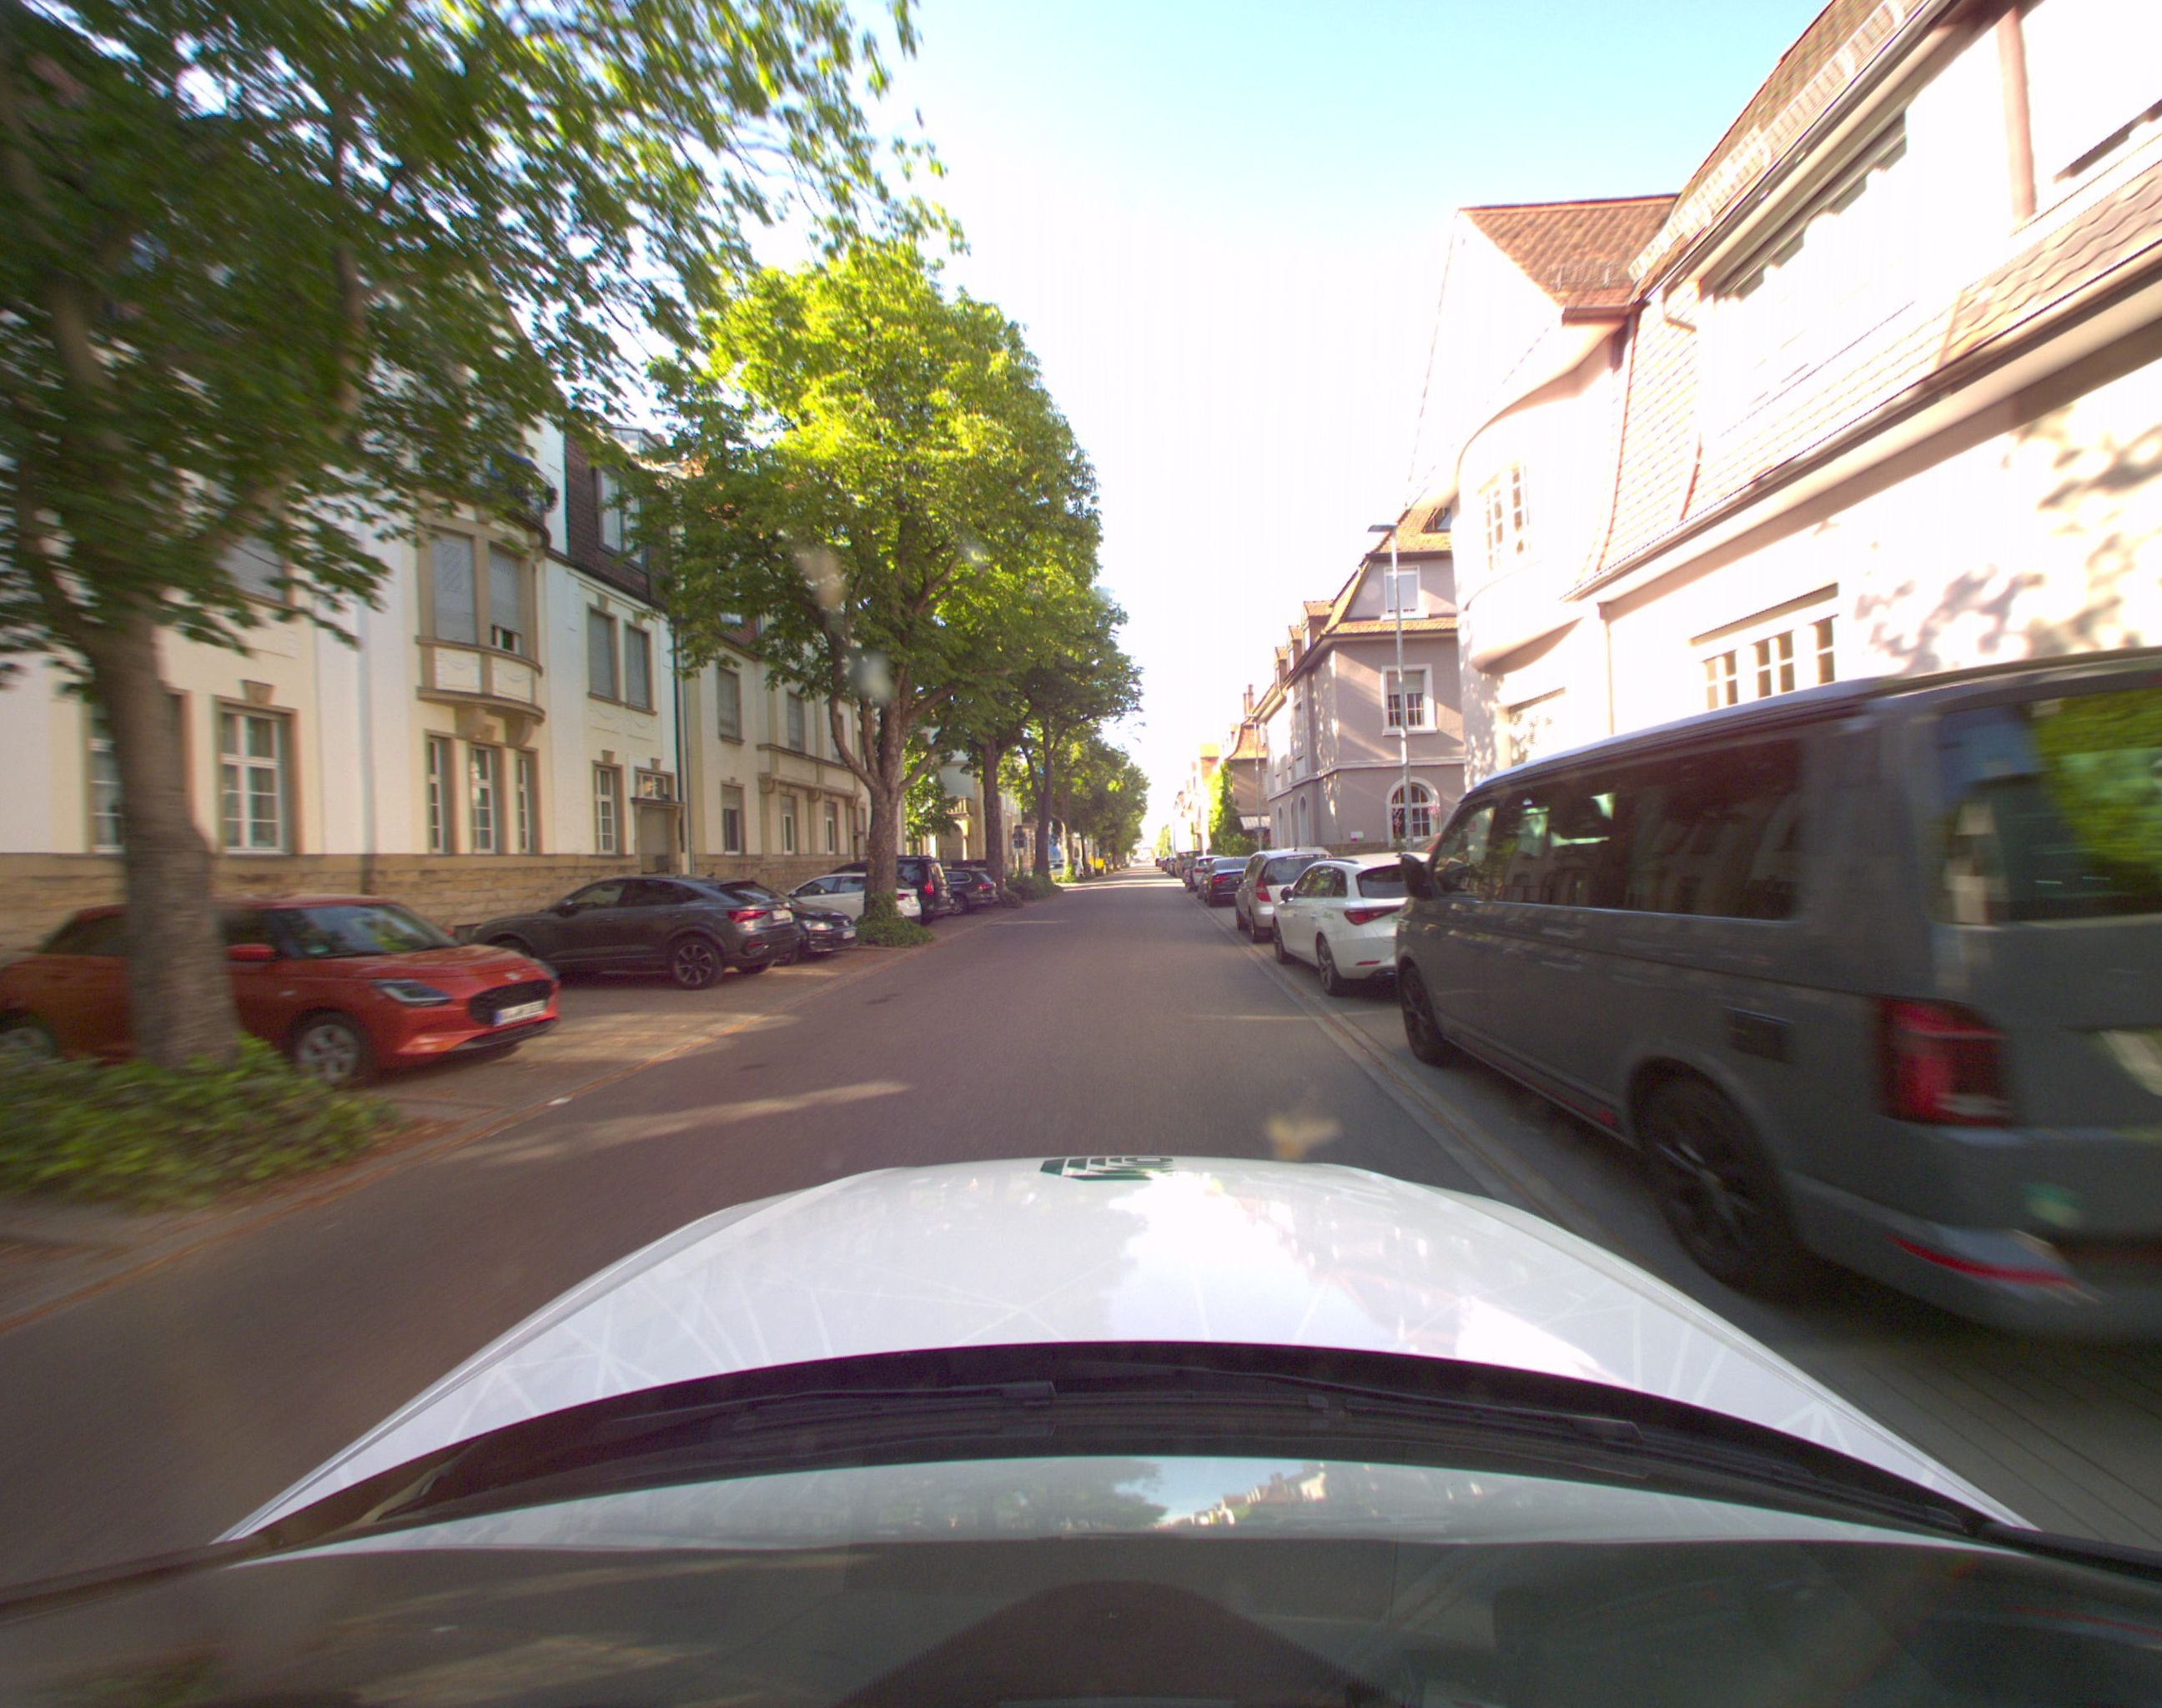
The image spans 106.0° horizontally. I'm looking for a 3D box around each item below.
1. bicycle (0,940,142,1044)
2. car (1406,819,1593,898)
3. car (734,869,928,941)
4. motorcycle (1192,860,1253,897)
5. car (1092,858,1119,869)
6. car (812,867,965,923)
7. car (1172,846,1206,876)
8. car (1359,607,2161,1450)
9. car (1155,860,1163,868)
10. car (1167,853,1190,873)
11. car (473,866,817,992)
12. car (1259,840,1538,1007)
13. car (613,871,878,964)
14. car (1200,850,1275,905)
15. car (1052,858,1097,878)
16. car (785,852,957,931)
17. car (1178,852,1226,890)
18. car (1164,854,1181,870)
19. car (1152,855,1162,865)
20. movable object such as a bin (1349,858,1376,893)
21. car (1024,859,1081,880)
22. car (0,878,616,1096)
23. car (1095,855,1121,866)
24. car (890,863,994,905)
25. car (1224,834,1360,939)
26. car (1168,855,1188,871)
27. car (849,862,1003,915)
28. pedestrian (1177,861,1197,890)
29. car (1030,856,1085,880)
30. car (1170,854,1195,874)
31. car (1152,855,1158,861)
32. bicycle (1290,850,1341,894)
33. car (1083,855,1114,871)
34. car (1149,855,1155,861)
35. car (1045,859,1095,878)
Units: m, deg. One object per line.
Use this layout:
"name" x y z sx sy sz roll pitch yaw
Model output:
"bicycle" -11.022 1.428 8.505 0.623 0.932 1.498 0 -1 3
"car" 11.361 0.141 22.337 4.120 1.843 1.767 -3 -1 3
"car" -5.775 1.156 19.160 3.974 1.448 1.742 -2 -1 0
"motorcycle" 5.226 0.886 30.184 2.180 1.339 0.923 0 0 8
"car" 3.711 1.448 123.599 3.985 1.735 1.898 0 0 6
"car" -5.571 1.166 23.940 3.964 1.437 1.830 -2 -1 2
"car" 7.523 0.481 57.059 1.896 1.870 4.679 -5 -1 4
"car" 3.076 0.367 4.232 1.856 1.916 4.788 -4 -1 5
"car" 16.754 2.131 174.687 1.762 1.631 3.872 -2 0 6
"car" 8.306 0.739 69.495 1.780 1.618 3.872 -2 0 6
"car" -6.175 1.032 11.857 3.970 1.592 1.861 -1 -1 3
"car" 3.419 0.651 9.754 1.672 1.457 4.440 -3 0 2
"car" -5.840 1.090 14.425 3.879 1.446 1.864 -1 -1 9
"car" 4.879 0.690 25.953 1.845 1.493 4.614 -4 -1 5
"car" -0.609 1.273 74.806 3.979 1.552 1.835 -3 0 -4
"car" -5.457 0.961 21.538 3.963 1.855 1.830 -2 -1 3
"car" 5.550 0.744 37.790 1.692 1.539 4.158 -5 -1 3
"car" 10.274 0.893 91.925 1.762 1.631 3.872 -2 0 6
"car" 13.646 1.085 146.280 1.762 1.631 3.872 -2 0 6
"movable object such as a bin" 8.536 0.645 24.693 0.566 1.039 0.618 -3 -1 2
"car" -2.037 1.142 58.771 3.973 1.464 1.798 0 -1 0
"car" -6.452 1.034 6.943 3.969 1.514 1.749 -2 -1 4
"car" 4.383 1.032 132.199 3.985 1.841 2.004 0 0 6
"car" -5.370 1.147 31.802 3.658 1.487 1.643 -2 -1 3
"car" 3.865 0.561 15.575 1.780 1.600 4.006 -5 -1 5
"car" 9.589 0.865 80.677 1.762 1.455 3.872 -2 0 6
"car" -4.919 1.100 26.316 4.513 1.503 1.893 -2 -1 3
"pedestrian" 4.810 0.959 37.011 0.722 1.257 0.645 -3 -1 -3
"car" -1.730 1.053 61.061 3.973 1.761 1.798 0 -1 0
"car" 7.929 0.789 64.033 1.683 1.398 3.810 -5 -1 4
"car" 21.639 1.151 237.755 1.762 1.631 3.872 -2 0 6
"bicycle" 7.730 0.572 26.958 1.077 1.337 2.252 -3 0 3
"car" 2.402 1.209 111.550 3.979 2.014 1.997 -2 -1 -4
"car" 21.419 1.097 245.248 1.762 1.631 3.872 -2 0 6
"car" -0.901 1.247 69.748 3.967 1.469 1.867 -2 0 6
